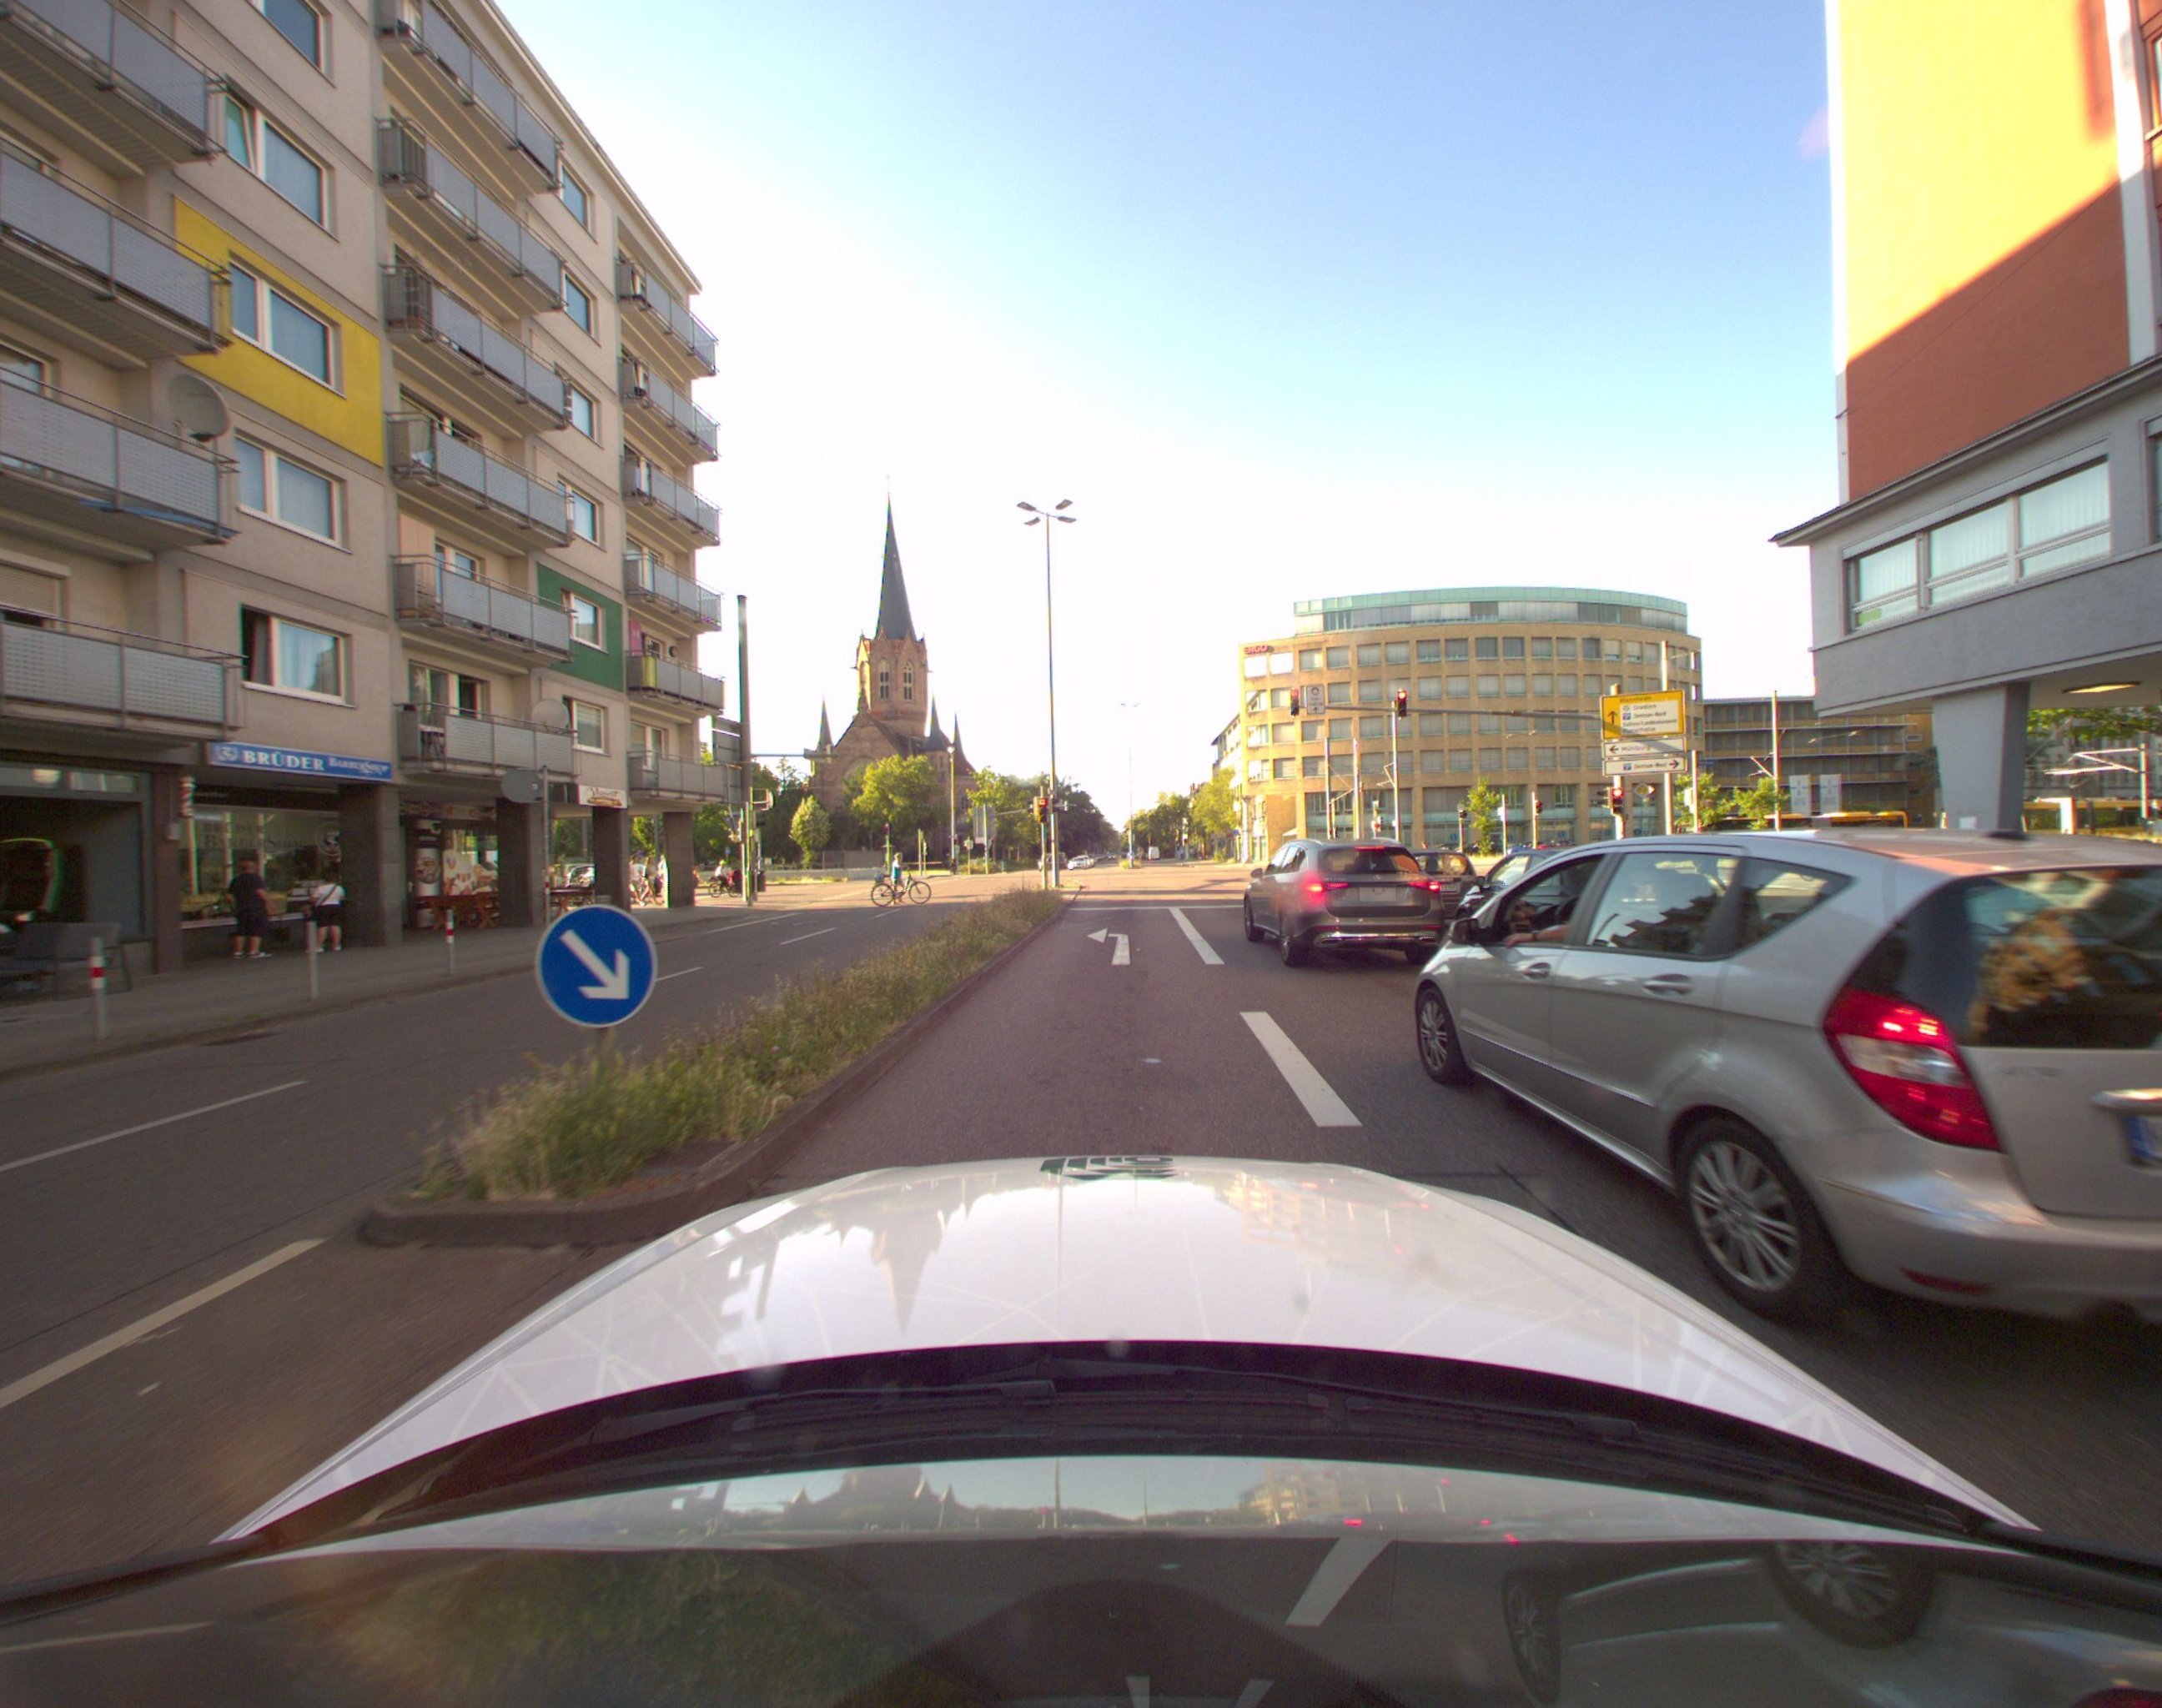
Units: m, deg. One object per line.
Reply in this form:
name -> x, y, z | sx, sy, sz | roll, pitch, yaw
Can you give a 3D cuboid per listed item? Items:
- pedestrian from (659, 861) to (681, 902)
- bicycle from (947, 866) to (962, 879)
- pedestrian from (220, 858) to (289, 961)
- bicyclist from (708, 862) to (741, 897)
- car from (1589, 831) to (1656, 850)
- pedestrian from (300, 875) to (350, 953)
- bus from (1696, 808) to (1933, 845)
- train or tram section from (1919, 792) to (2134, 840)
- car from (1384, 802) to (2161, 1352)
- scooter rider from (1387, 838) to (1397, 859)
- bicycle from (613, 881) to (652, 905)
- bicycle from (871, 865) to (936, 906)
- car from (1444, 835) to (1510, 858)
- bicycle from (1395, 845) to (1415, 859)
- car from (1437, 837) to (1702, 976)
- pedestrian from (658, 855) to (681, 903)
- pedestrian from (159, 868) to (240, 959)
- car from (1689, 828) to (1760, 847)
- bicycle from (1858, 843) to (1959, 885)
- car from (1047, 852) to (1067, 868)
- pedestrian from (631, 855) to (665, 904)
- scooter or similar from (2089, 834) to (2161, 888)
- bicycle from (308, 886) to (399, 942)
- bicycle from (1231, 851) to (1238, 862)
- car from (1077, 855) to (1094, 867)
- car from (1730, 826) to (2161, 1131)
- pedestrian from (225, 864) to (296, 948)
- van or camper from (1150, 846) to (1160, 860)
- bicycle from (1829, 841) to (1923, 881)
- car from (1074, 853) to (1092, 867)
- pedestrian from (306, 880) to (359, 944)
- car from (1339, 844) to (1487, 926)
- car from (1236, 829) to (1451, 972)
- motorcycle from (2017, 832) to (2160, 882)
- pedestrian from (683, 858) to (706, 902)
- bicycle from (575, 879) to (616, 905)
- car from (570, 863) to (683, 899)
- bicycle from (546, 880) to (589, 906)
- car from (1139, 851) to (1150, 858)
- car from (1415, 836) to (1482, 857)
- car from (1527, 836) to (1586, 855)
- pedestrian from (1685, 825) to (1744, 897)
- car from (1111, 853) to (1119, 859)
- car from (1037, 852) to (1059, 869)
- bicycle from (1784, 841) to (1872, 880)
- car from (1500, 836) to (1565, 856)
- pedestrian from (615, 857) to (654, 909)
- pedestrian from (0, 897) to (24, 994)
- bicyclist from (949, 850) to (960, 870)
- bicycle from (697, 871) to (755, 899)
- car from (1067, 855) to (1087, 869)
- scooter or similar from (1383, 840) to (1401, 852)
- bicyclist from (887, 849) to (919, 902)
pedestrian -> -15.679, 1.042, 31.068 | 0.466, 1.530, 0.577 | -2, 0, 2
bicycle -> -11.303, 1.683, 72.947 | 0.650, 1.139, 1.662 | -2, 0, -33
pedestrian -> -14.366, 0.942, 14.175 | 0.784, 1.701, 0.553 | -2, 0, -44
bicyclist -> -15.906, 1.121, 36.328 | 0.876, 1.487, 1.162 | -2, 0, 1
car -> 42.618, -1.052, 64.170 | 3.973, 1.346, 2.000 | -2, 0, 0
pedestrian -> -13.764, 1.082, 14.836 | 0.479, 1.384, 0.484 | -2, 0, 23
bus -> 60.601, -2.262, 67.403 | 18.124, 2.436, 2.420 | -2, 0, -3
train or tram section -> 72.612, -2.900, 62.491 | 17.131, 3.177, 3.681 | -2, 0, -15
car -> 3.089, 0.624, 4.165 | 1.797, 1.568, 3.620 | -2, 0, 2
scooter rider -> 27.007, -0.497, 70.784 | 0.676, 1.814, 0.476 | -2, 0, 9
bicycle -> -17.390, 1.499, 31.620 | 0.494, 0.840, 1.704 | -2, 0, 2
bicycle -> -5.562, 0.974, 25.562 | 1.820, 1.188, 0.734 | -2, 0, 1
car -> 31.170, -0.600, 64.209 | 4.209, 1.614, 2.002 | -2, 0, 4
bicycle -> 27.639, -0.146, 69.550 | 1.510, 1.172, 0.476 | -2, 0, 9
car -> 6.199, 0.581, 10.813 | 1.484, 1.505, 3.480 | -2, 0, 2
pedestrian -> -15.297, 0.916, 30.285 | 0.550, 1.769, 0.470 | -2, 0, 4
pedestrian -> -16.122, 1.065, 14.914 | 0.559, 1.578, 0.788 | -2, 0, 3
car -> 50.542, -1.290, 63.981 | 3.973, 1.346, 2.000 | -2, 0, 0
bicycle -> 23.696, 0.283, 23.342 | 2.078, 1.116, 0.743 | -2, 0, 1
car -> -2.651, 0.681, 90.989 | 1.772, 1.704, 4.004 | -2, 0, 3
pedestrian -> -15.351, 0.893, 28.897 | 0.748, 1.709, 0.676 | -2, 0, 11
scooter or similar -> 25.267, 0.178, 19.614 | 1.125, 1.245, 0.431 | -3, 0, 23
bicycle -> -15.459, 1.245, 17.349 | 0.585, 1.081, 1.456 | -2, -1, 0
bicycle -> 18.822, 0.310, 99.843 | 0.768, 1.195, 2.472 | -2, 0, 11
car -> 0.598, 0.825, 96.758 | 1.772, 1.236, 4.004 | -2, 0, 3
car -> 6.094, 0.589, 4.596 | 1.644, 1.484, 4.242 | -1, 0, 3
pedestrian -> -16.163, 1.004, 16.068 | 0.560, 1.578, 0.787 | -2, 0, -3
van or camper -> 14.702, -0.204, 162.011 | 1.984, 2.640, 5.357 | -2, 0, 4
bicycle -> 23.943, 0.209, 24.549 | 2.078, 1.116, 0.743 | -2, 0, 1
car -> 0.261, 0.638, 89.497 | 1.772, 1.464, 4.004 | -2, 0, 3
pedestrian -> -14.868, 1.146, 16.179 | 0.552, 1.239, 0.533 | -2, 0, 17
car -> 6.411, 0.536, 16.133 | 1.578, 1.446, 3.650 | 0, 0, 3
car -> 3.512, 0.529, 11.801 | 1.777, 1.632, 4.481 | -2, 0, 2
motorcycle -> 26.840, 0.079, 21.777 | 0.851, 1.241, 2.403 | -2, 0, 0
pedestrian -> -14.636, 0.994, 30.858 | 0.464, 1.642, 0.579 | -2, 0, 23
bicycle -> -18.799, 1.471, 31.561 | 0.494, 0.906, 1.704 | -2, 0, 2
car -> -21.934, 1.292, 39.377 | 4.383, 1.573, 1.838 | -2, 0, 3
bicycle -> -19.883, 1.493, 31.568 | 0.494, 0.906, 1.704 | -2, 0, 2
car -> 14.677, 0.040, 187.423 | 1.989, 1.592, 3.996 | -2, 0, -2
car -> 30.401, -0.621, 67.508 | 4.632, 1.598, 2.000 | -2, 0, 0
car -> 37.334, -0.680, 64.030 | 3.593, 1.342, 1.723 | -2, 0, 3
pedestrian -> 16.003, 0.177, 20.594 | 0.939, 1.768, 0.671 | -2, 0, 7
car -> 8.527, 0.465, 203.657 | 1.772, 1.448, 4.004 | -2, 0, 3
car -> -3.348, 0.640, 83.606 | 1.772, 1.647, 4.004 | -2, 0, 3
bicycle -> 23.928, 0.202, 26.103 | 2.078, 1.116, 0.743 | -2, 0, 1
car -> 37.195, -0.663, 67.130 | 4.216, 1.502, 2.000 | -2, 0, -1
pedestrian -> -15.448, 0.990, 28.208 | 0.916, 1.758, 0.676 | -2, 0, 11
pedestrian -> -14.028, 1.177, 10.345 | 0.524, 1.203, 0.547 | -2, 0, -29
bicyclist -> -11.322, 0.535, 72.921 | 0.643, 1.694, 0.774 | -2, 0, -34
bicycle -> -15.811, 1.370, 36.332 | 2.036, 1.168, 1.162 | -2, 0, 1
car -> -0.354, 0.803, 82.938 | 1.772, 1.236, 4.004 | -2, 0, 3
scooter or similar -> 27.022, -0.706, 70.775 | 1.392, 1.001, 0.476 | -2, 0, 9
bicyclist -> -5.702, 0.675, 26.128 | 0.779, 1.660, 0.901 | -2, 0, 1
